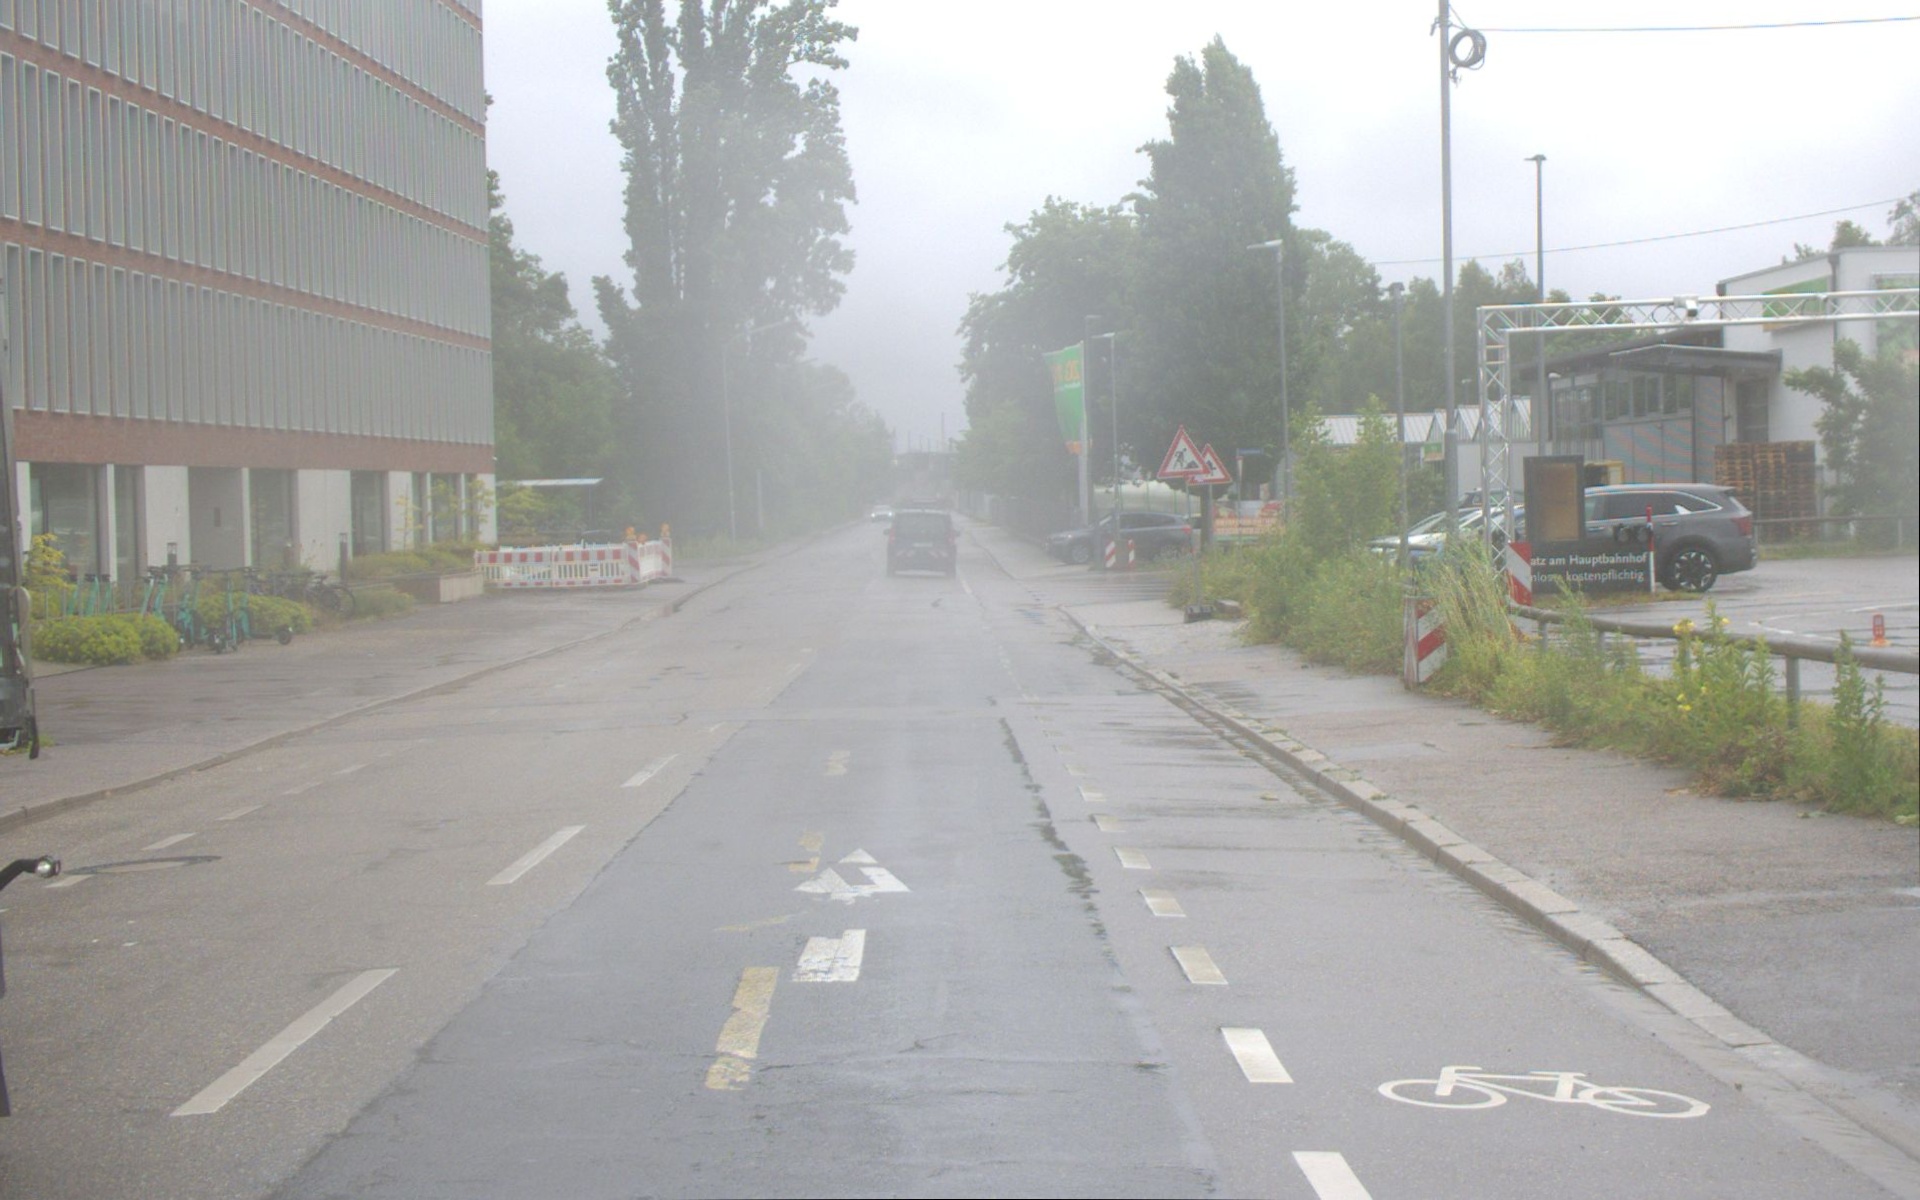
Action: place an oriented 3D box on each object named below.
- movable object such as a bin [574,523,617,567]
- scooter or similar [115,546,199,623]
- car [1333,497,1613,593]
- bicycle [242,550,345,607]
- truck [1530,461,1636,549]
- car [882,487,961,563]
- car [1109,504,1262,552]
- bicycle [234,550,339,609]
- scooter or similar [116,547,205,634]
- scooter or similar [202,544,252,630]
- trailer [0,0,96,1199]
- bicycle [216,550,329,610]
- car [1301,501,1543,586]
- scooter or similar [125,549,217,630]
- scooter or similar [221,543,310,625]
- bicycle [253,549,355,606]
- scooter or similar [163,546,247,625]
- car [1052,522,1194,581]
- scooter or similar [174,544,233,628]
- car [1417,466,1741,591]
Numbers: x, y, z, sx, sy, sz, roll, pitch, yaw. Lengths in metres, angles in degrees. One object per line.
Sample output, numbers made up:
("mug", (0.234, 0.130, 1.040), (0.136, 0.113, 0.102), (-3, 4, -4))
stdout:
("movable object such as a bin", (-11.203, -1.691, 105.691), (1.295, 1.304, 1.449), (-1, 2, -6))
("scooter or similar", (-13.121, -0.250, 56.179), (1.226, 1.204, 0.417), (-2, 1, 7))
("car", (8.342, -0.890, 56.166), (4.295, 1.511, 1.819), (0, 0, 1))
("bicycle", (-12.682, -0.410, 65.417), (1.859, 1.073, 0.544), (0, 1, -1))
("truck", (19.960, -3.075, 110.479), (2.301, 2.650, 7.416), (-2, 2, 3))
("car", (-1.041, -1.977, 90.951), (1.993, 1.904, 4.201), (-2, 1, -1))
("car", (7.176, -2.305, 109.818), (4.703, 1.457, 1.891), (-1, 2, -1))
("bicycle", (-12.643, -0.386, 64.535), (1.859, 1.073, 0.544), (0, 1, -1))
("scooter or similar", (-11.570, -0.137, 49.746), (1.319, 1.226, 0.507), (-1, 2, 38))
("scooter or similar", (-10.732, -0.199, 50.366), (0.466, 1.226, 1.321), (-2, 1, -3))
("trailer", (-3.744, -0.547, 2.022), (3.294, 4.638, 13.735), (-2, 1, -2))
("bicycle", (-12.603, -0.363, 63.008), (1.948, 1.073, 0.620), (0, 1, -1))
("car", (8.443, -1.018, 63.042), (4.181, 1.504, 1.890), (0, 0, 1))
("scooter or similar", (-12.058, -0.161, 52.573), (1.316, 1.173, 0.467), (-2, 1, -12))
("scooter or similar", (-10.696, -0.239, 52.946), (1.318, 1.226, 0.467), (-1, 2, 29))
("bicycle", (-12.647, -0.435, 66.279), (1.859, 1.073, 0.544), (0, 1, -1))
("scooter or similar", (-11.905, -0.235, 54.196), (0.467, 1.204, 1.205), (-1, 2, 42))
("car", (4.852, -1.450, 102.456), (4.136, 1.563, 1.765), (-2, 1, 3))
("scooter or similar", (-11.370, -0.214, 51.670), (0.466, 1.226, 1.321), (-3, 2, -29))
("car", (9.508, -1.086, 53.116), (4.682, 1.729, 2.128), (-2, 0, 4))
